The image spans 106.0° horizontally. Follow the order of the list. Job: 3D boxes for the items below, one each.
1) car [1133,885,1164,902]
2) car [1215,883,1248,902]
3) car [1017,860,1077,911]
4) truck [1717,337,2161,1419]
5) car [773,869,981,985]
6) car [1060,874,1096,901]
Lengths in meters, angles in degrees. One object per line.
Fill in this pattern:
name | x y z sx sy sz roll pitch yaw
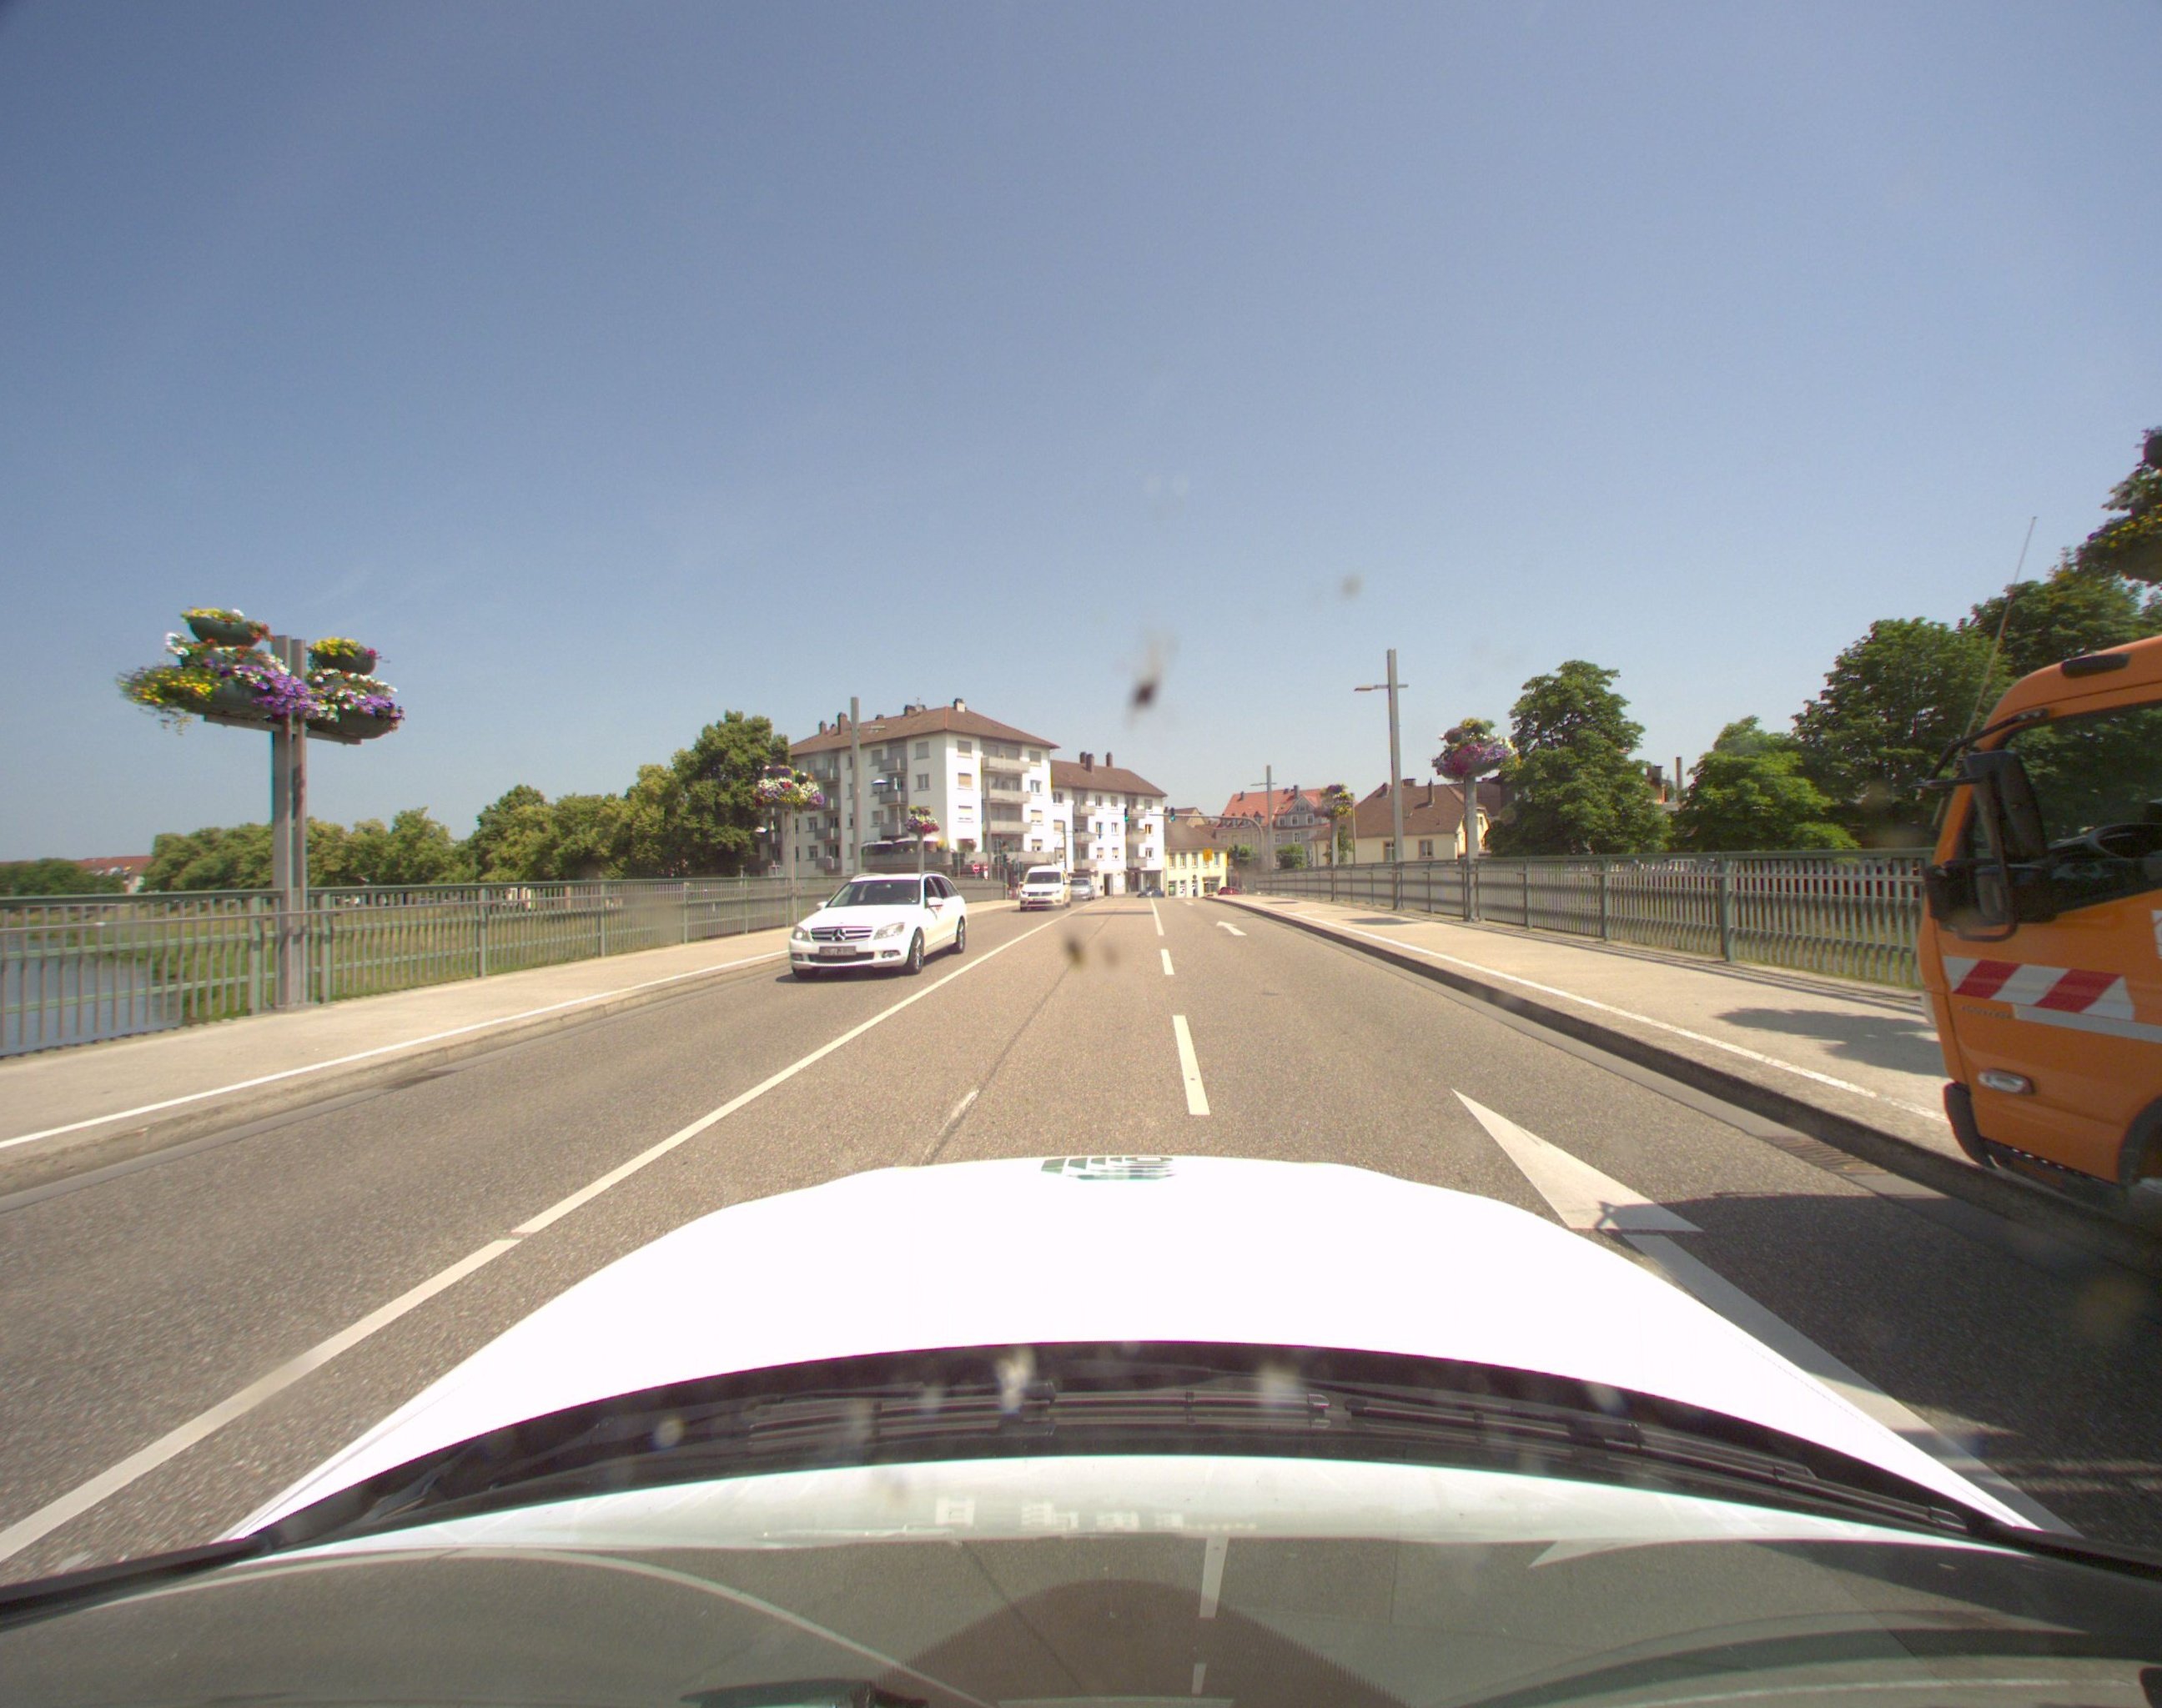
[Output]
car | 6.770 3.943 81.092 1.641 1.440 3.778 -5 -2 27
car | 15.300 3.881 82.673 1.971 1.613 4.368 -2 -1 27
car | -1.332 1.284 33.462 1.751 1.857 4.652 -4 -2 5
truck | 3.838 0.010 0.444 2.594 2.691 5.831 -4 -1 5
car | -3.016 1.021 13.205 1.836 1.432 4.719 -2 0 4
car | -0.155 2.088 51.481 1.751 1.519 4.006 -3 -1 6
